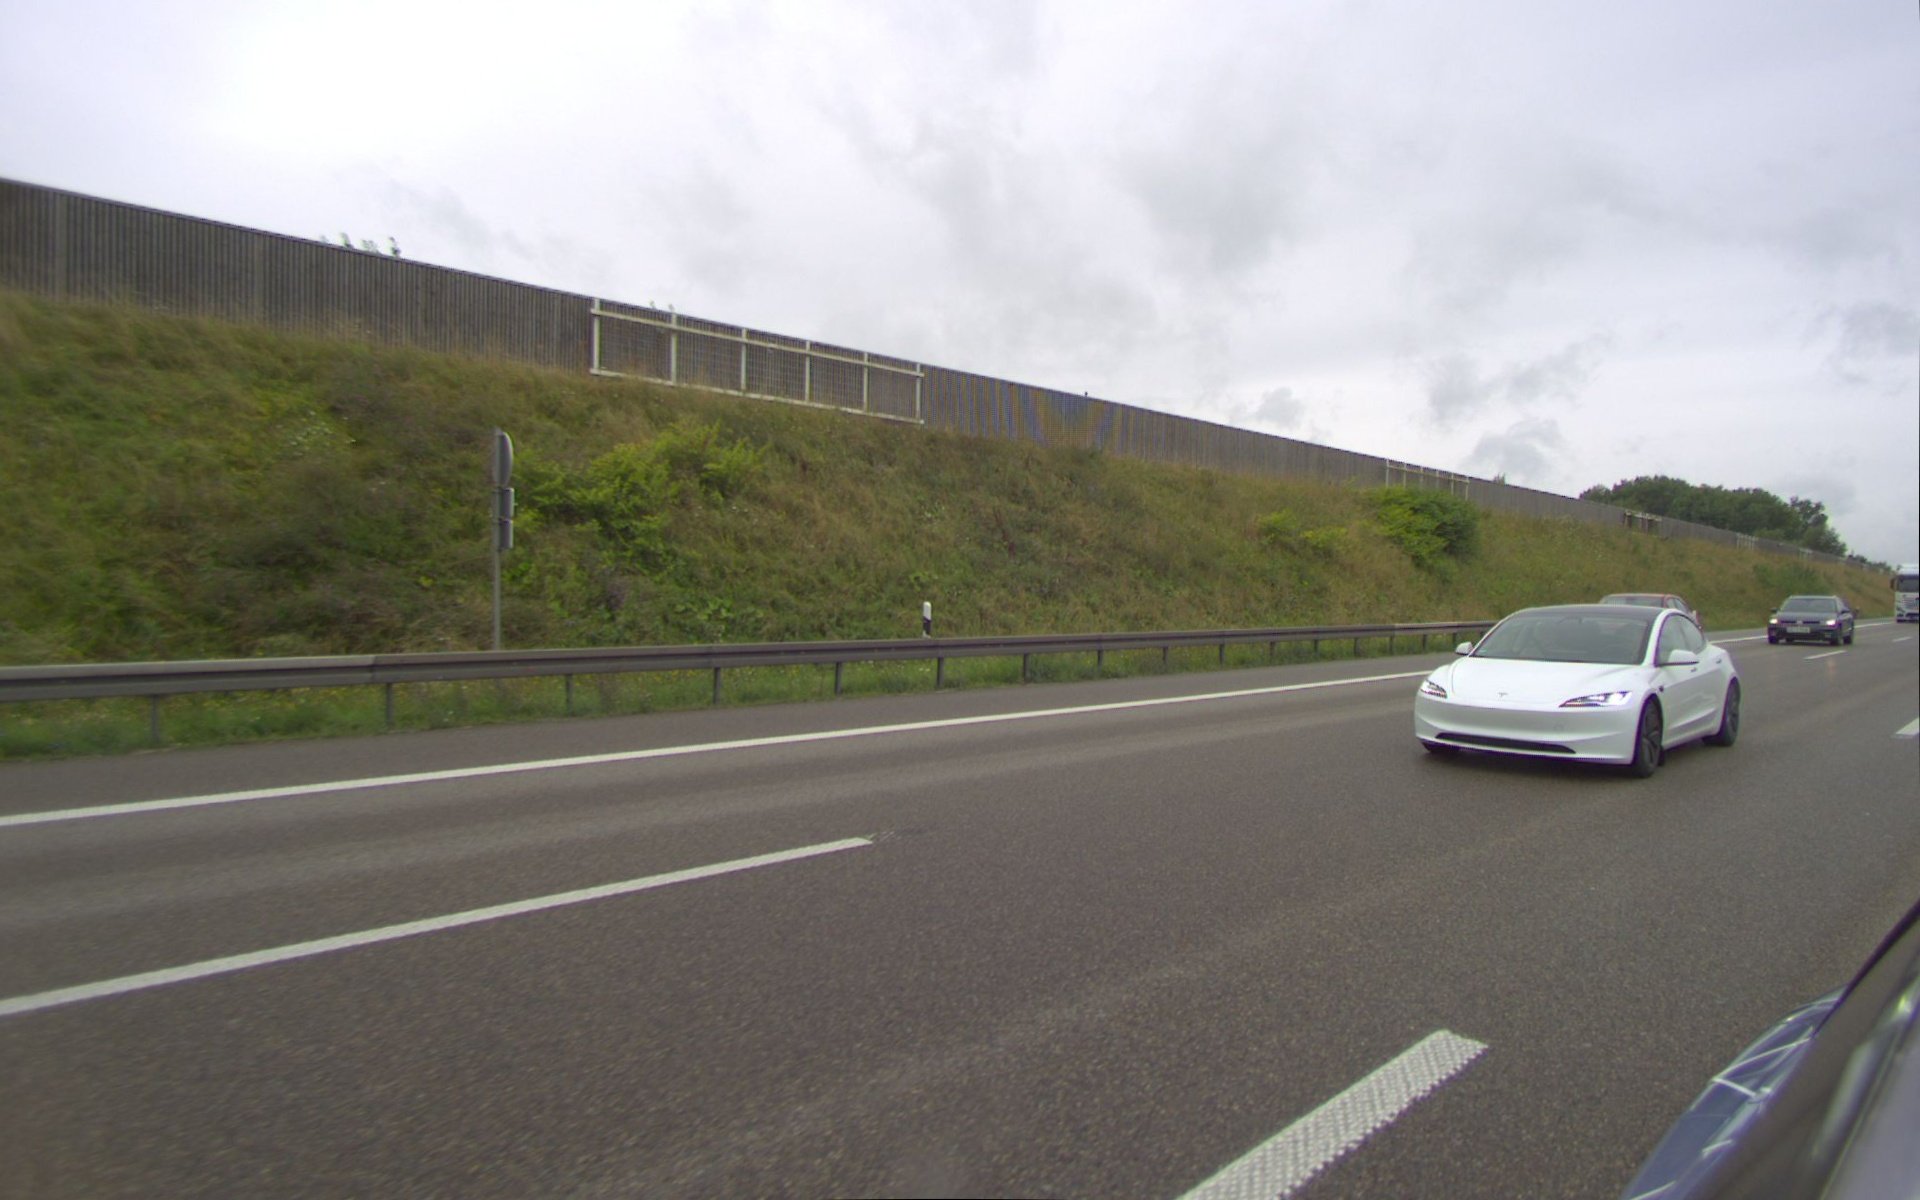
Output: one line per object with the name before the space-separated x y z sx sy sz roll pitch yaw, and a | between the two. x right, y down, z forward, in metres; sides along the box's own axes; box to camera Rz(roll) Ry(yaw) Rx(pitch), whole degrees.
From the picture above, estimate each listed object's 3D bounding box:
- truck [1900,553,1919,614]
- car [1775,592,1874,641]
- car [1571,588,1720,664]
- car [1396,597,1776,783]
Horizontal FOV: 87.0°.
truck | 66.717 -1.115 69.224 6.841 4.077 3.084 -1 0 -44
car | 29.049 0.499 33.960 4.408 1.508 1.927 -1 0 -41
car | 15.574 0.515 22.924 3.931 1.554 1.876 -1 0 -41
car | 6.344 0.681 10.003 4.729 1.380 1.877 -1 0 -41
